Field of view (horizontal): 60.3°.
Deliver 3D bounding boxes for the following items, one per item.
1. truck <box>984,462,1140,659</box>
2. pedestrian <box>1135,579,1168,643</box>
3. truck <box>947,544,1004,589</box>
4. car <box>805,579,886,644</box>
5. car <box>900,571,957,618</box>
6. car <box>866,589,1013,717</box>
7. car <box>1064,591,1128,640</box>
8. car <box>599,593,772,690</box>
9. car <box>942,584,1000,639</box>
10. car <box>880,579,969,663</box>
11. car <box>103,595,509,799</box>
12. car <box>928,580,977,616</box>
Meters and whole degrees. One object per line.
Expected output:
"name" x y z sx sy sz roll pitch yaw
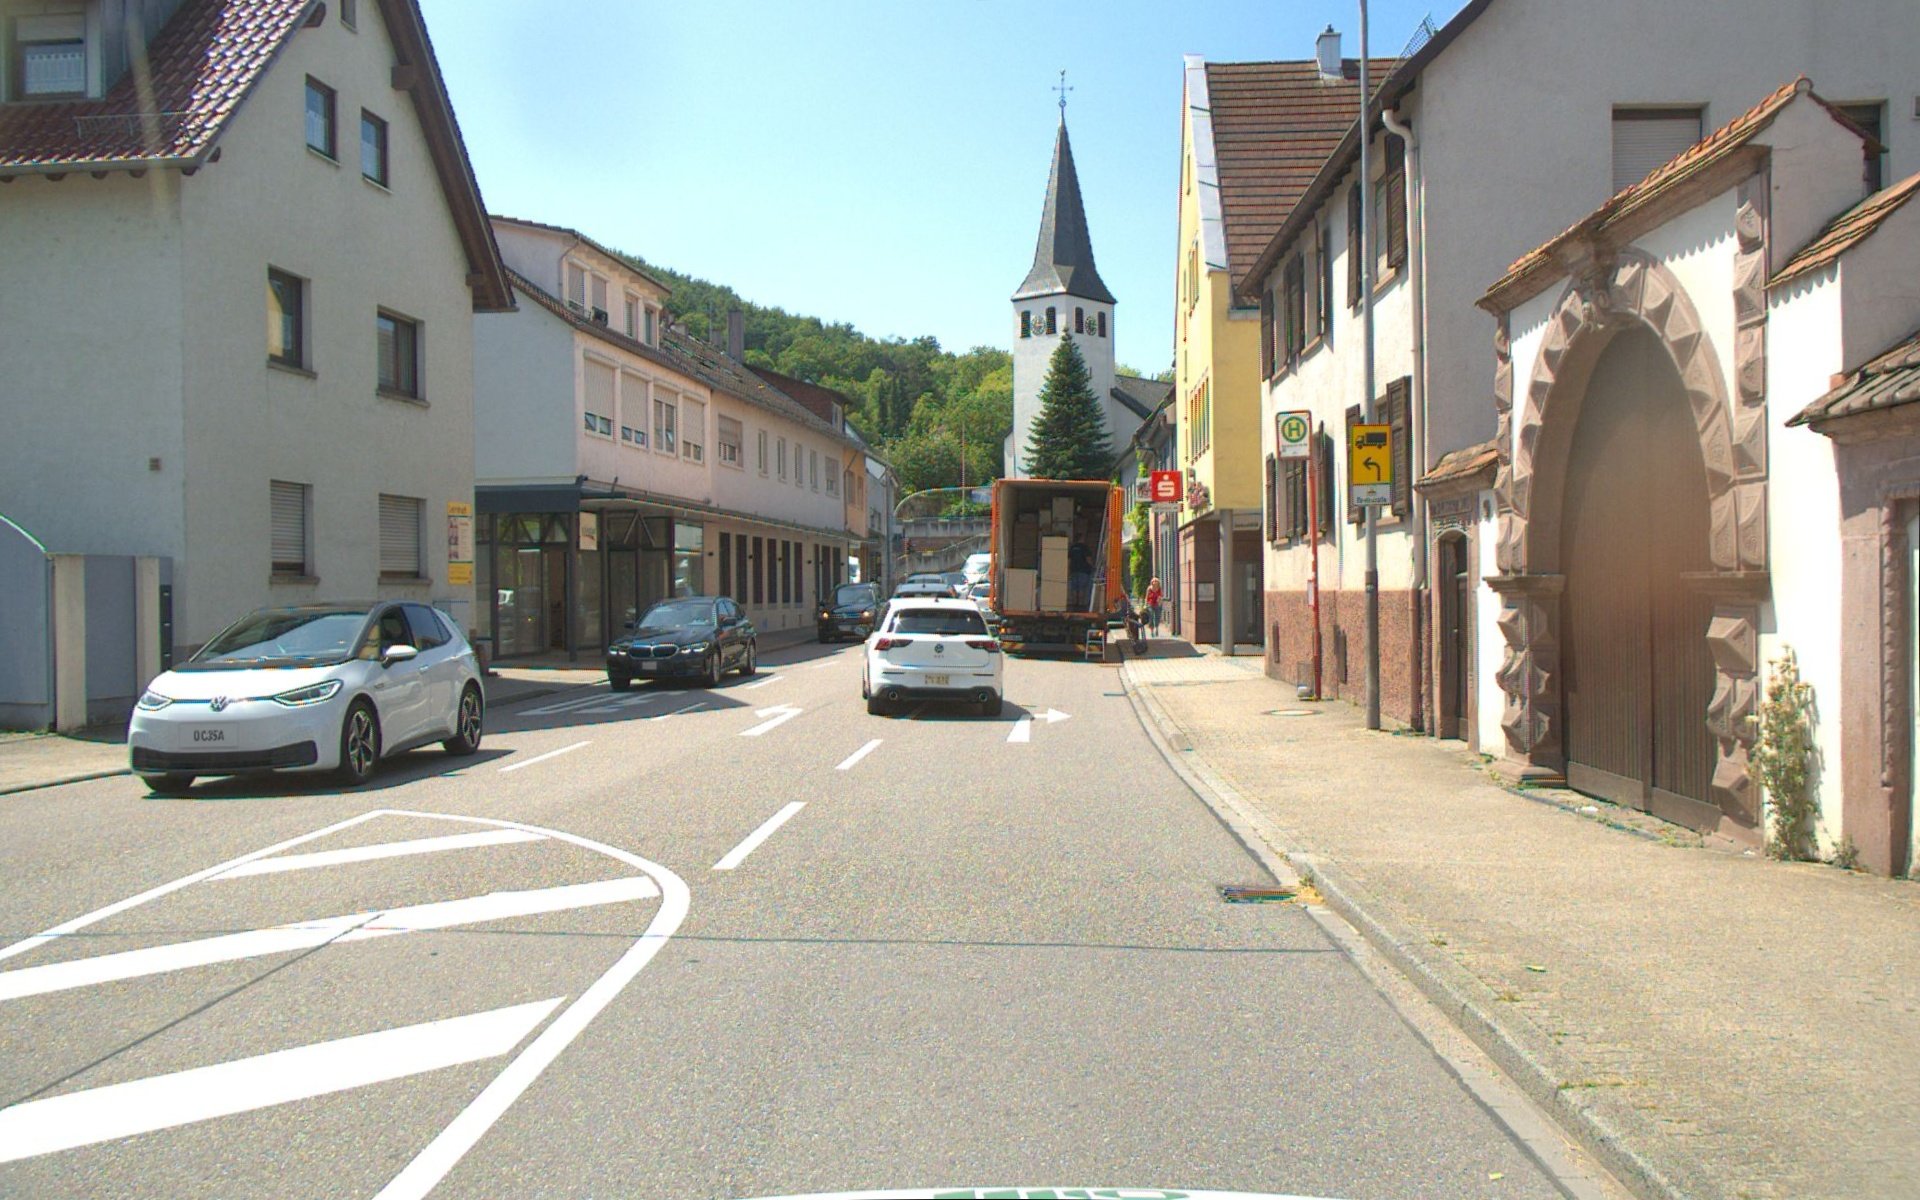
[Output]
"truck" 2.421 -0.840 41.302 3.297 4.243 9.521 -2 -1 2
"pedestrian" 5.454 0.312 47.074 0.753 1.773 0.870 -2 -1 -2
"truck" 0.961 -1.993 100.310 2.073 2.517 5.740 -2 -1 14
"car" -3.307 0.287 48.495 1.655 1.728 4.115 -2 1 6
"car" -1.270 -0.264 68.693 1.763 1.811 4.708 -2 1 5
"car" -0.259 0.660 22.140 1.778 1.545 3.999 0 -1 0
"car" 4.605 0.524 56.459 1.778 1.545 3.999 -2 -1 0
"car" -4.691 0.679 28.928 1.755 1.519 4.424 -2 -1 7
"car" 0.325 0.373 53.925 1.778 1.657 3.999 -2 -1 0
"car" -0.744 0.447 35.969 1.778 1.657 3.999 -2 -1 0
"car" -5.668 0.775 14.952 1.758 1.534 4.135 -2 -1 4
"car" -0.346 -0.090 81.982 1.951 1.680 4.002 -2 -1 6
